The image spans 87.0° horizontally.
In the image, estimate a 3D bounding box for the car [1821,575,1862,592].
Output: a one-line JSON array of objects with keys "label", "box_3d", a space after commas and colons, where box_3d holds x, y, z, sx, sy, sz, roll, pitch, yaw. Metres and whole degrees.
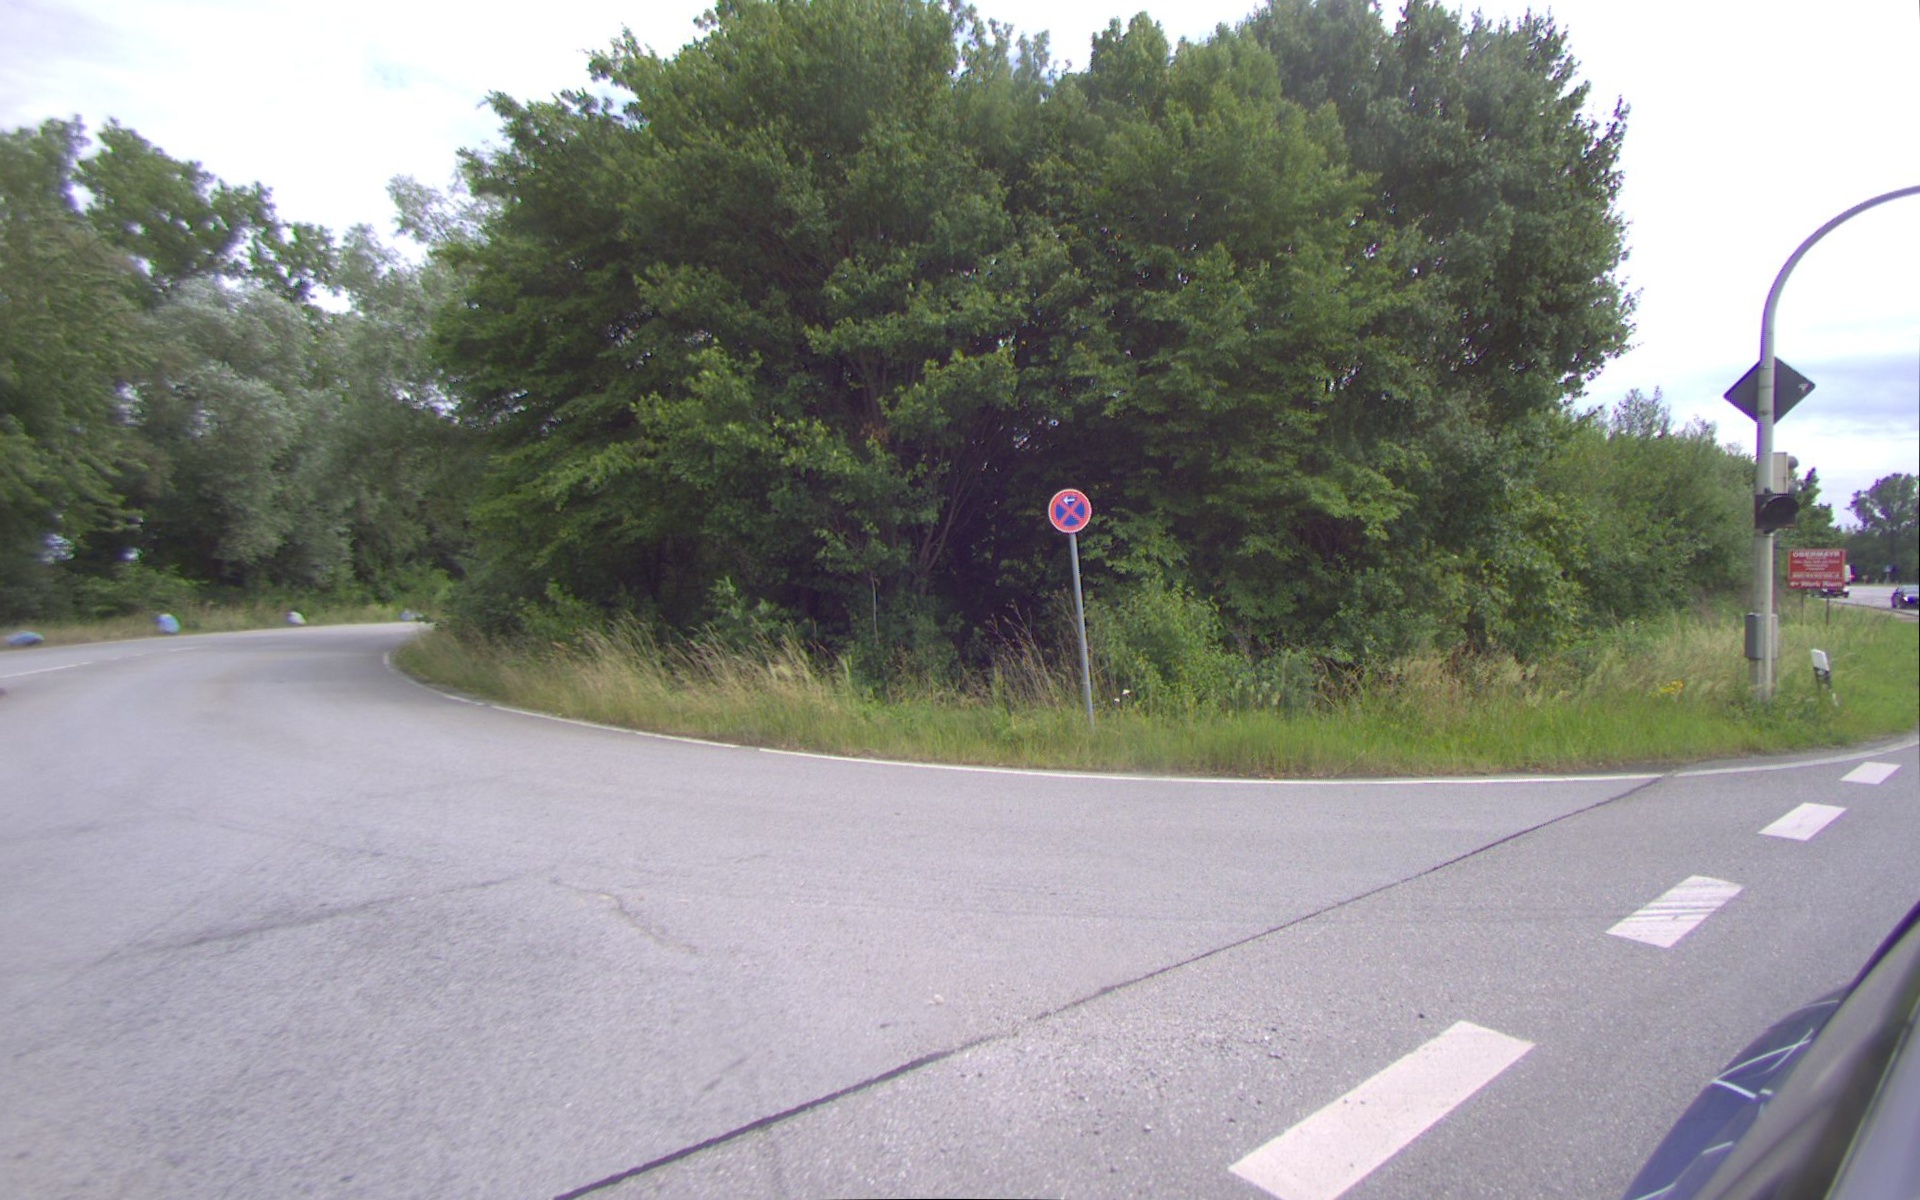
[{"label": "car", "box_3d": [74.225, -1.410, 85.289, 1.716, 1.382, 3.962, 1, 1, 28]}]

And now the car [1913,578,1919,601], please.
[{"label": "car", "box_3d": [59.705, -0.623, 61.841, 1.722, 1.382, 3.946, 1, 2, 37]}]

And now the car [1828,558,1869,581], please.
[{"label": "car", "box_3d": [113.328, -3.883, 129.139, 2.419, 2.708, 6.820, -1, 1, 29]}]
